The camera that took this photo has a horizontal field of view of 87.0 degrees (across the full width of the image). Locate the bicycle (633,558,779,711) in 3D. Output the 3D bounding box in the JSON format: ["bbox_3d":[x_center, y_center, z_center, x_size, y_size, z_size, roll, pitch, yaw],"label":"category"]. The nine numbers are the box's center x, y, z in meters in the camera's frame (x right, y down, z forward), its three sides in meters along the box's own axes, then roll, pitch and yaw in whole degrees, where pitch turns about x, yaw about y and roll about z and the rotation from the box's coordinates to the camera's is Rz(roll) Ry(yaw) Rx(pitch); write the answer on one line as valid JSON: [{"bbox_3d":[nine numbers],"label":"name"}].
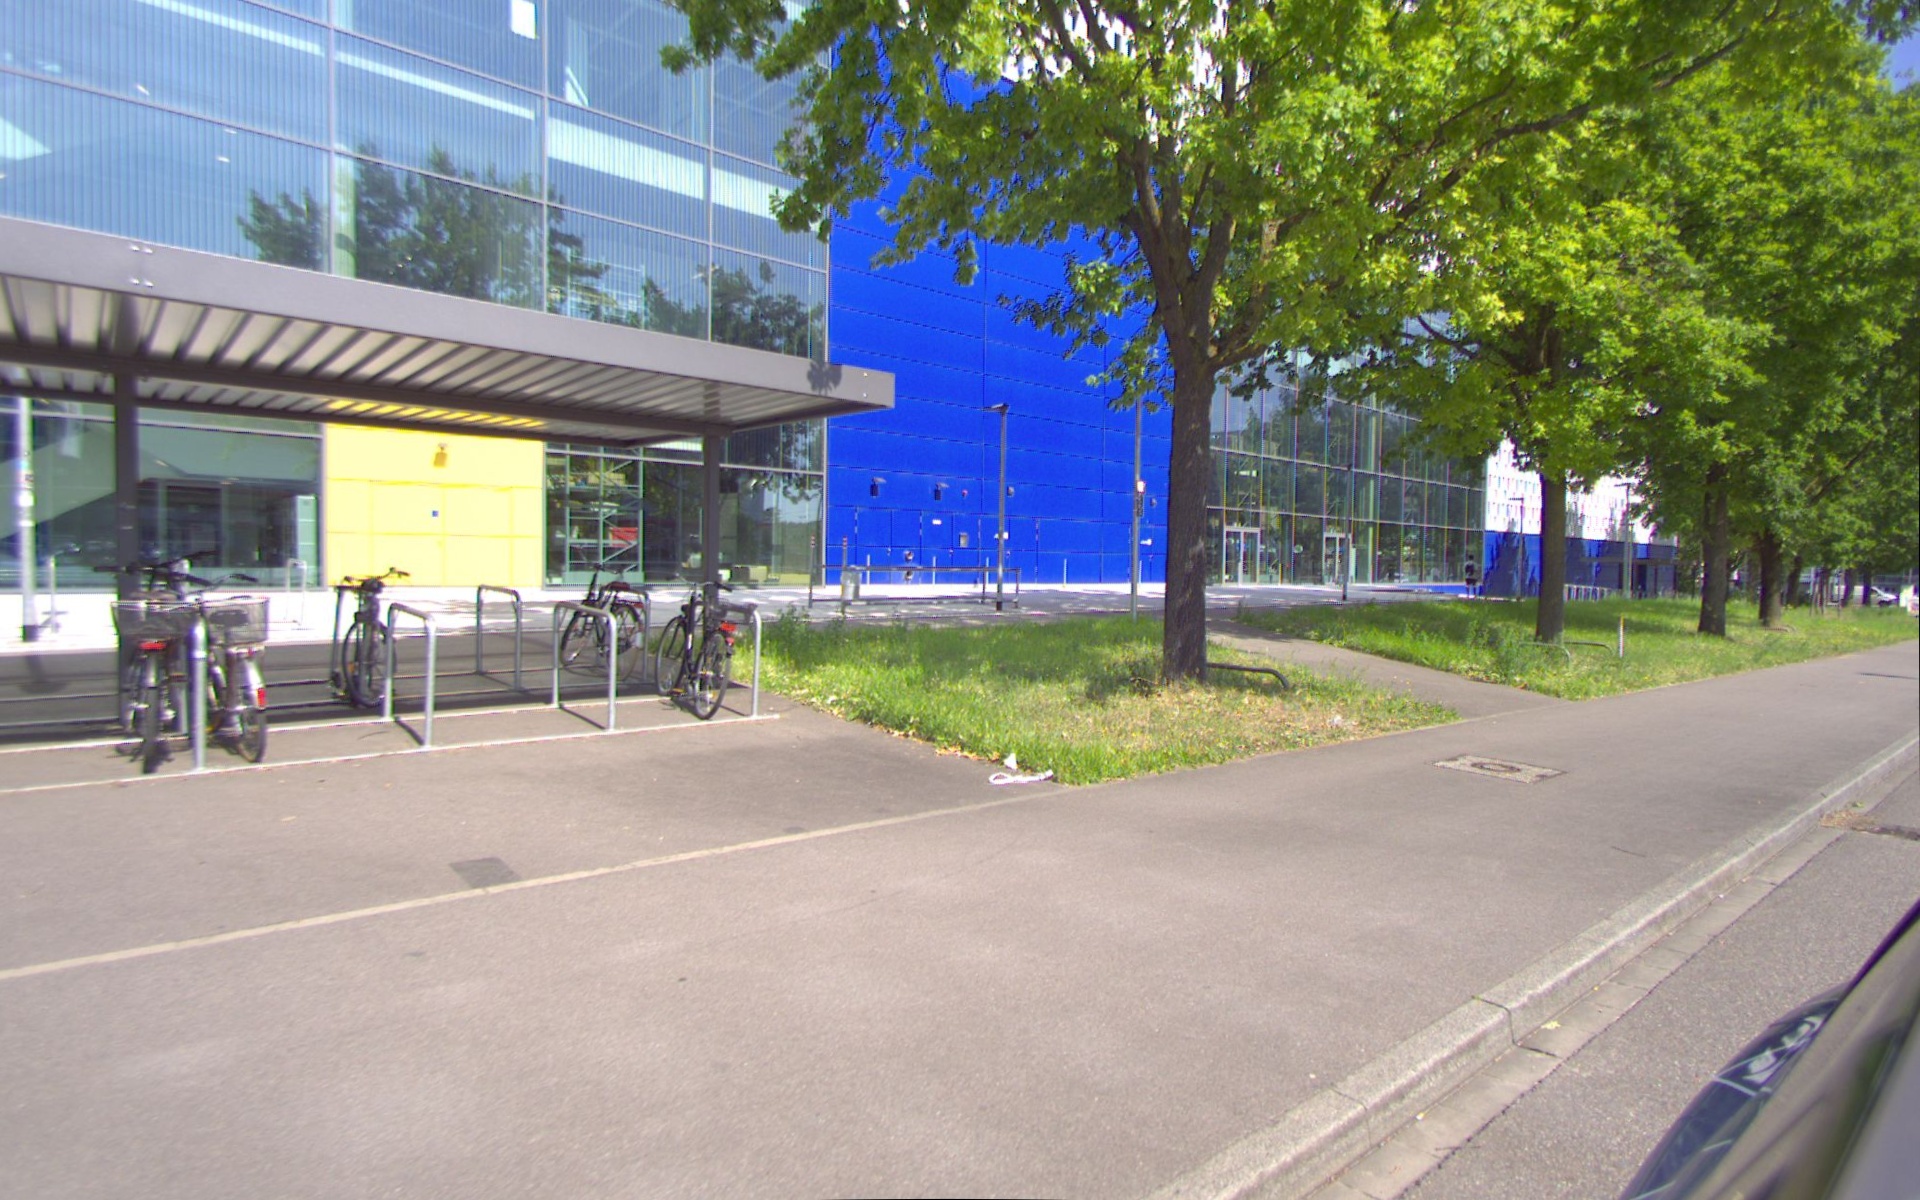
[{"bbox_3d":[-2.144,0.228,8.370,0.444,1.109,1.763,0,3,-39],"label":"bicycle"}]

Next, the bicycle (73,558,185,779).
[{"bbox_3d":[-4.936,0.323,6.015,0.444,1.109,1.762,1,2,-40],"label":"bicycle"}]

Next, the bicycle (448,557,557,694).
[{"bbox_3d":[-4.187,0.185,9.196,0.444,1.109,1.762,1,2,-40],"label":"bicycle"}]

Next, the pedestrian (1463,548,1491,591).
[{"bbox_3d":[20.047,-1.188,39.255,0.758,1.632,0.689,1,2,-44],"label":"pedestrian"}]

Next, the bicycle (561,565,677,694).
[{"bbox_3d":[-3.342,0.237,9.814,0.444,1.109,1.762,1,2,-40],"label":"bicycle"}]

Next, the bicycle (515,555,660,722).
[{"bbox_3d":[-2.864,0.233,7.668,0.455,1.109,1.762,1,2,-40],"label":"bicycle"}]

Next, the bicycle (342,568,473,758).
[{"bbox_3d":[-3.831,0.362,6.953,0.444,1.109,1.762,1,2,-40],"label":"bicycle"}]

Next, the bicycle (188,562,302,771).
[{"bbox_3d":[-4.532,0.342,6.370,0.444,1.109,1.762,1,2,-40],"label":"bicycle"}]

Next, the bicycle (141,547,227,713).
[{"bbox_3d":[-5.886,0.171,7.647,0.444,1.109,1.762,1,2,-40],"label":"bicycle"}]

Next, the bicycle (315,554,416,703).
[{"bbox_3d":[-5.033,0.188,8.521,0.444,1.109,1.762,1,2,-40],"label":"bicycle"}]

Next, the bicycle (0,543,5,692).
[{"bbox_3d":[-6.941,0.162,6.938,0.444,1.109,1.762,1,2,-40],"label":"bicycle"}]

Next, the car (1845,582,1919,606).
[{"bbox_3d":[87.440,-0.585,96.063,1.711,2.032,4.993,-2,4,-41],"label":"car"}]
